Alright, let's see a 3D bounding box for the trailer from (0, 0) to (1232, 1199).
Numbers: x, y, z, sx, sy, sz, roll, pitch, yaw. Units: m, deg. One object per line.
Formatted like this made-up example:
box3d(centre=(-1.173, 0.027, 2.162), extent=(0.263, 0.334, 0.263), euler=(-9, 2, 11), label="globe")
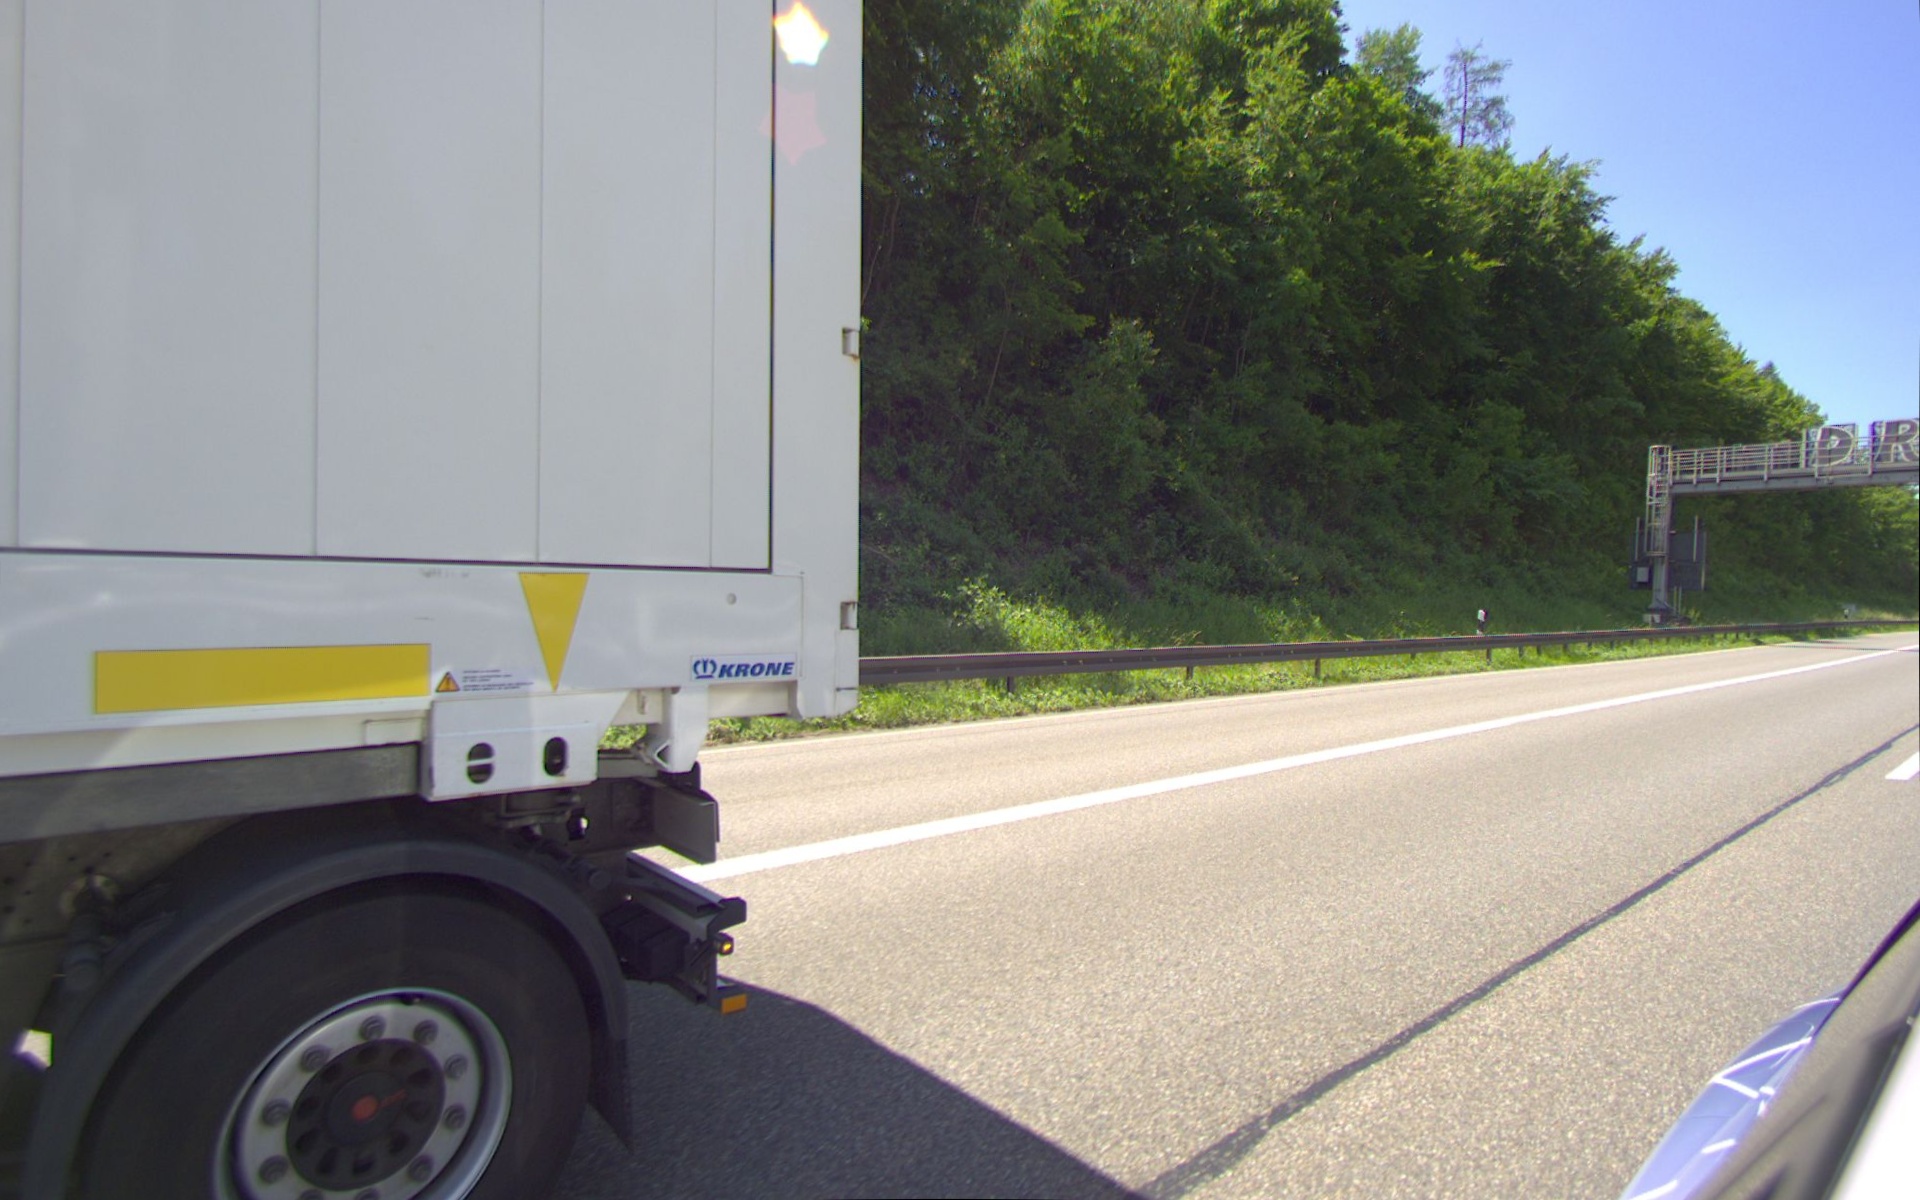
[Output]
box3d(centre=(-3.604, -0.738, 1.409), extent=(9.889, 4.229, 2.684), euler=(0, 0, -41), label="trailer")
